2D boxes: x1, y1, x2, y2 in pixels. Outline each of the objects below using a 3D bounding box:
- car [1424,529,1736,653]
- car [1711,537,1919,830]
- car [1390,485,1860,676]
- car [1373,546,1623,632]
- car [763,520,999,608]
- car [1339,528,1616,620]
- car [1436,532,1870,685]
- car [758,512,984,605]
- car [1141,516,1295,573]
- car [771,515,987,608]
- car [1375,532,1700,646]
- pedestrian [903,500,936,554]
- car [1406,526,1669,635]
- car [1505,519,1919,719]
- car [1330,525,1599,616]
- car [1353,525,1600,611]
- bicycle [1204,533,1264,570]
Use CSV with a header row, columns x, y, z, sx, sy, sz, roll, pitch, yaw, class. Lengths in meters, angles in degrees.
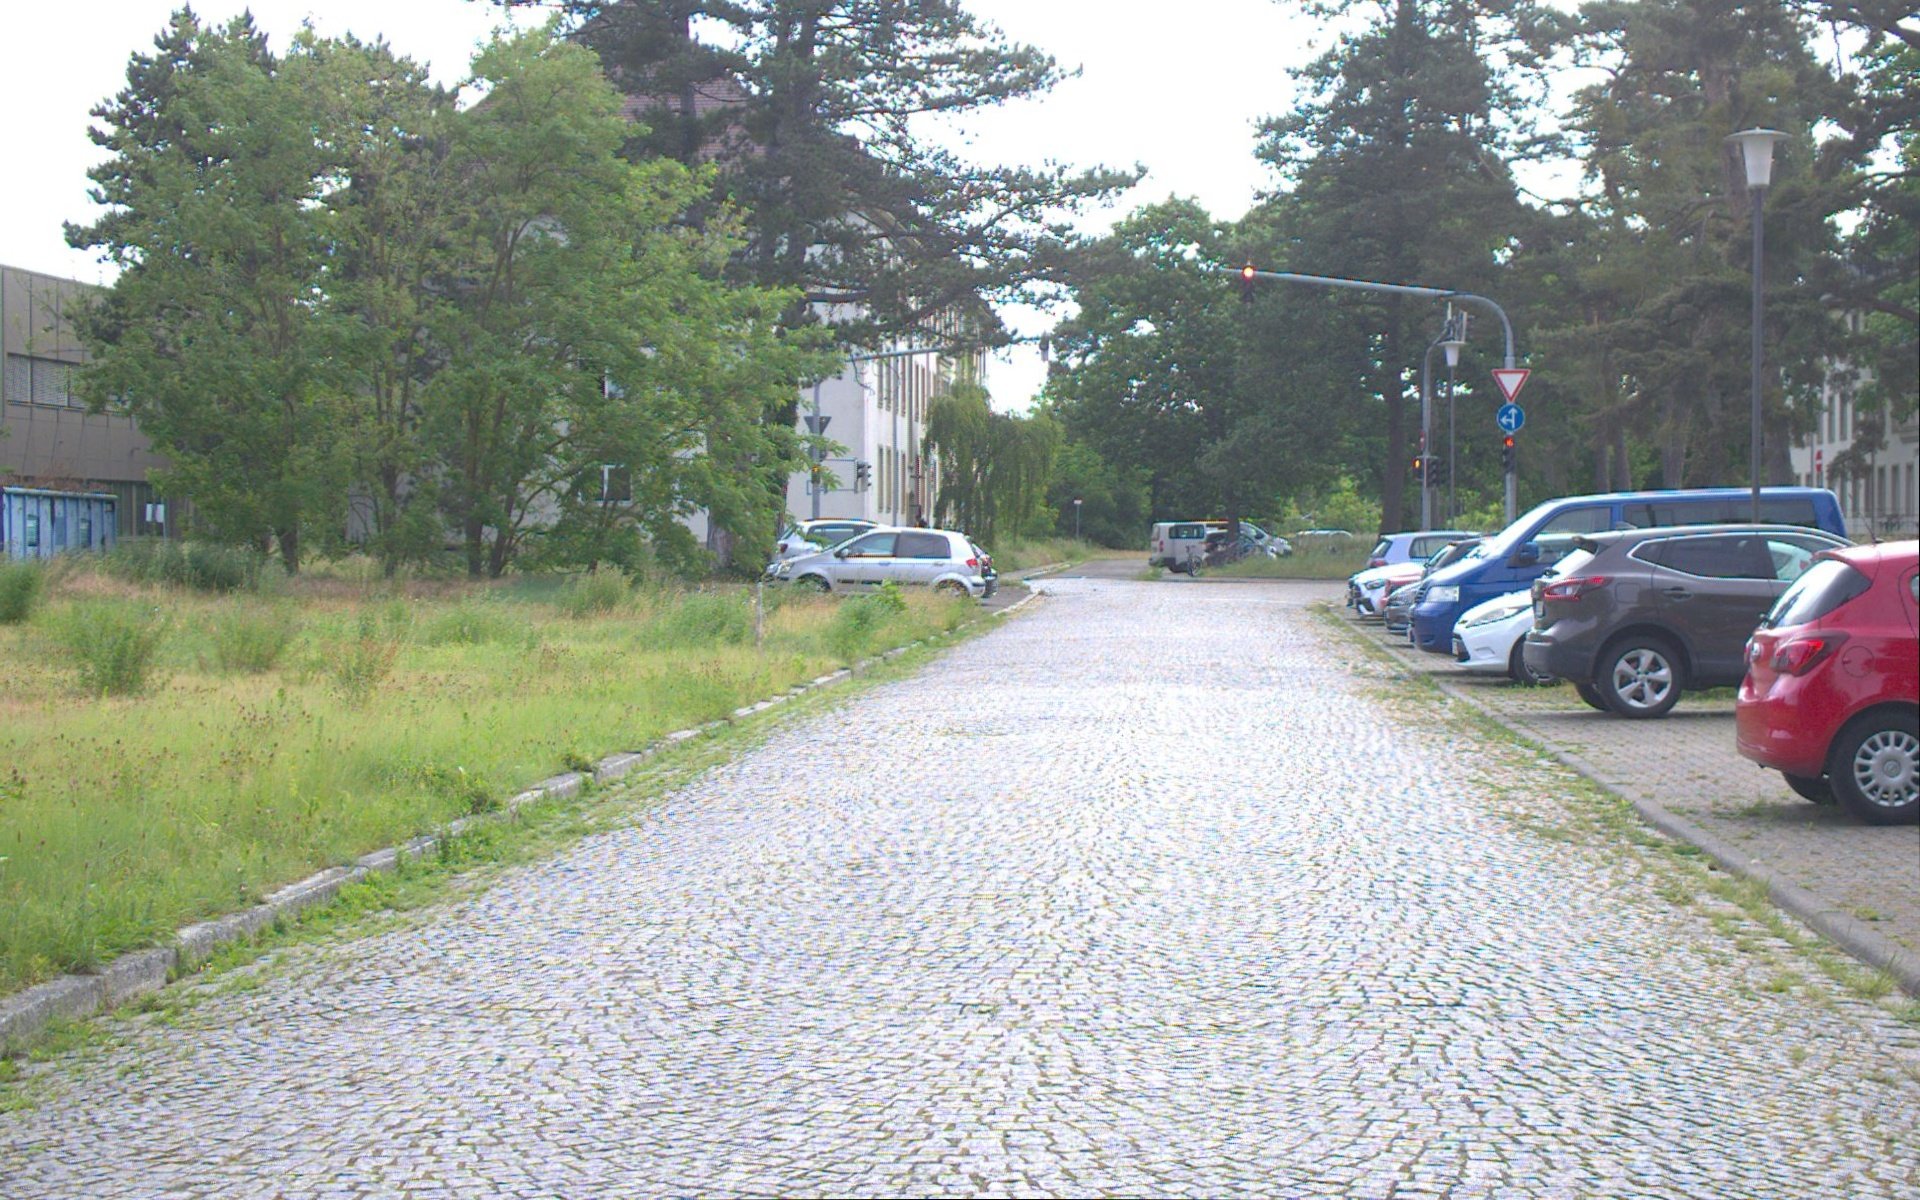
x,y,z,sx,sy,sz,roll,pitch,yaw,class
7.701,-0.125,42.968,3.654,1.473,1.765,-1,1,4,car
6.179,0.405,18.506,3.923,1.491,1.785,0,1,3,car
7.218,-0.226,37.678,4.796,1.997,1.966,-1,1,2,car
8.001,-0.166,51.367,3.587,1.218,1.628,0,1,5,car
-1.475,-0.681,63.790,4.297,1.548,1.812,-1,1,-2,car
8.403,-0.438,56.050,4.185,1.432,1.755,-1,1,-3,car
7.025,0.072,35.146,4.098,1.473,1.722,-1,1,1,car
-1.721,-0.817,66.619,4.297,1.726,1.653,-1,1,-1,car
9.612,-2.091,128.378,5.375,2.094,2.179,0,1,-8,car
-1.415,-0.692,61.181,3.721,1.475,1.673,2,1,1,car
7.657,-0.156,45.884,4.131,1.442,1.765,-1,1,5,car
-1.496,-2.678,126.894,1.074,1.952,1.121,2,1,4,pedestrian
8.149,-0.287,48.720,3.506,1.482,1.743,-1,1,4,car
6.807,0.132,28.789,4.203,1.589,1.953,-1,1,2,car
8.606,-0.517,58.808,4.228,1.474,1.710,-1,1,-6,car
9.180,-0.586,61.324,4.135,1.458,1.634,-1,1,-1,car
9.058,-1.596,113.581,1.881,1.167,0.665,2,1,-1,bicycle
